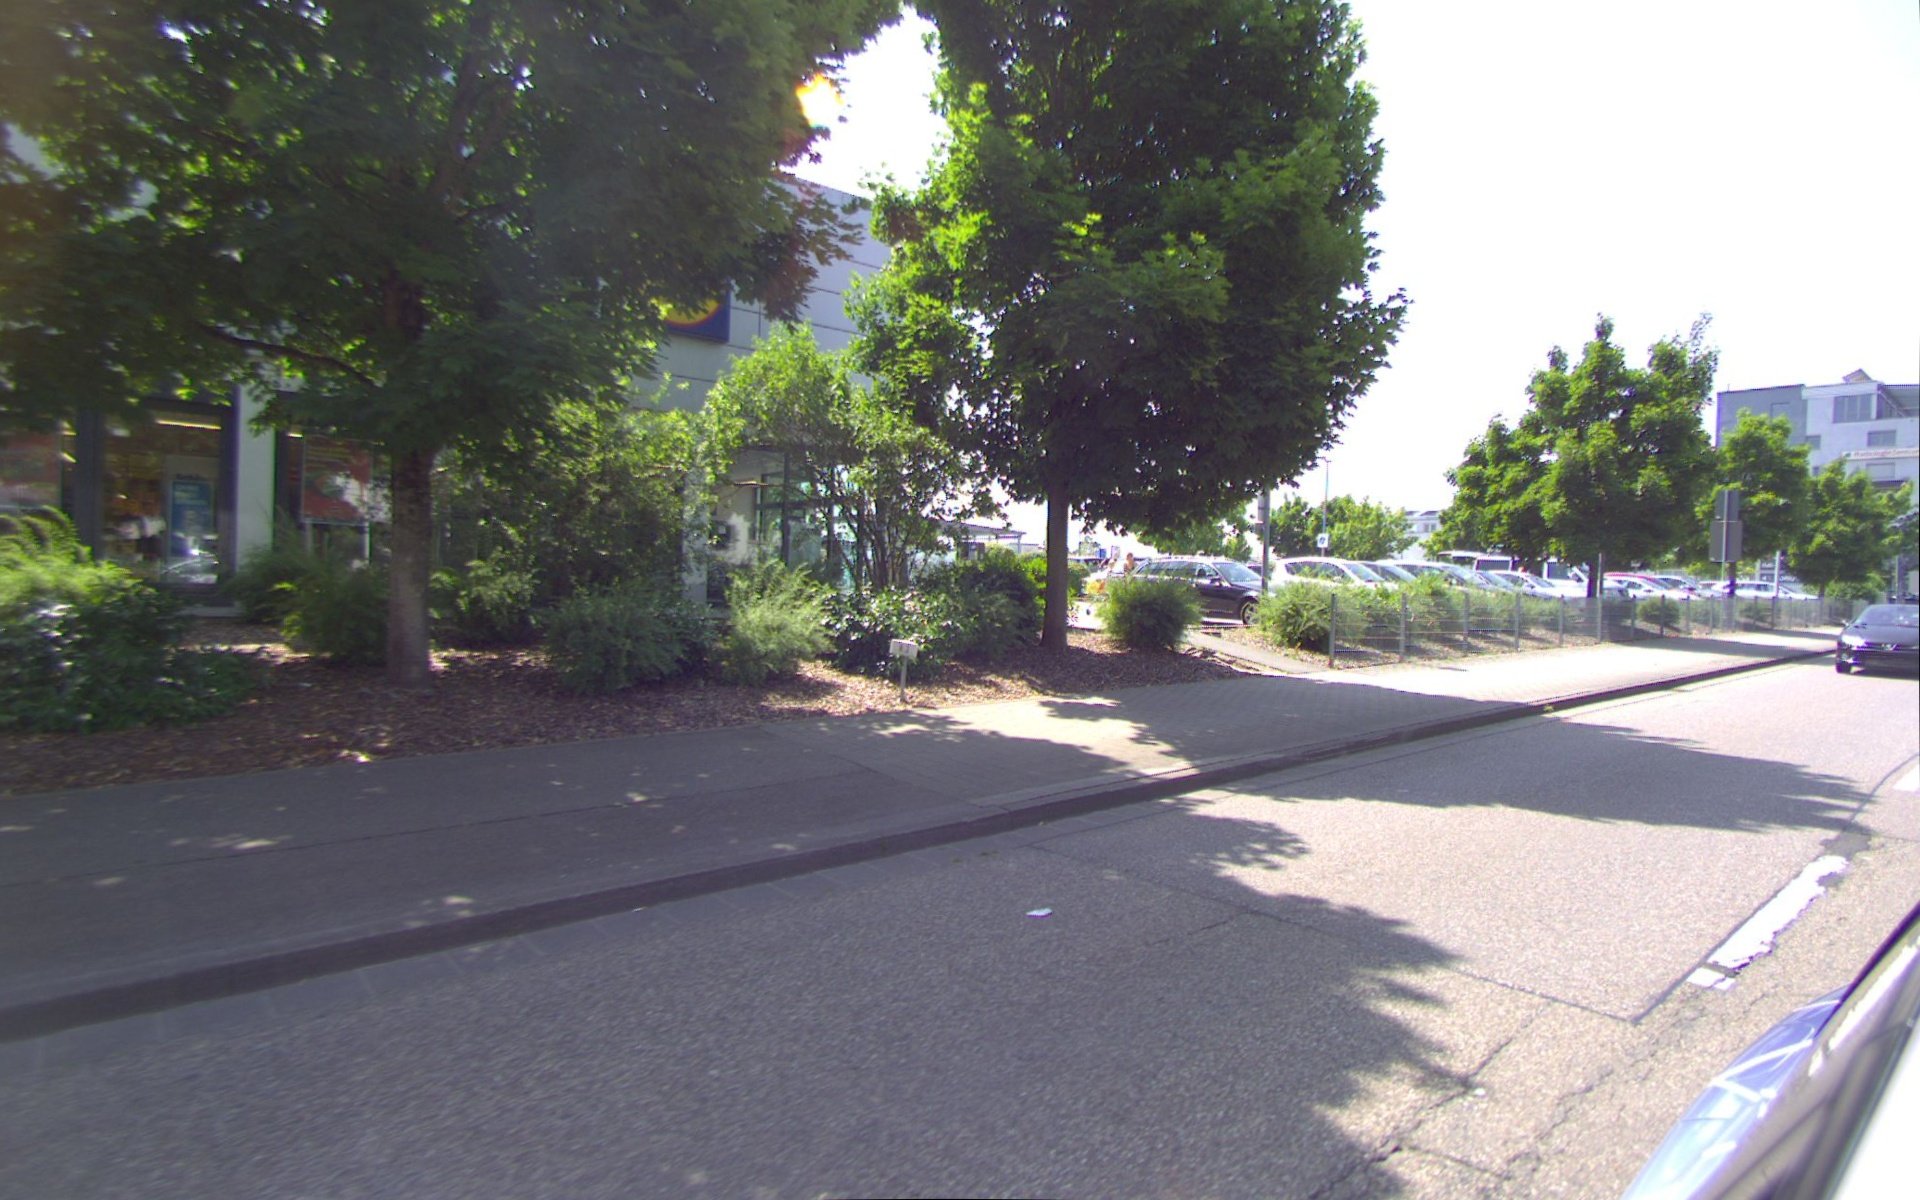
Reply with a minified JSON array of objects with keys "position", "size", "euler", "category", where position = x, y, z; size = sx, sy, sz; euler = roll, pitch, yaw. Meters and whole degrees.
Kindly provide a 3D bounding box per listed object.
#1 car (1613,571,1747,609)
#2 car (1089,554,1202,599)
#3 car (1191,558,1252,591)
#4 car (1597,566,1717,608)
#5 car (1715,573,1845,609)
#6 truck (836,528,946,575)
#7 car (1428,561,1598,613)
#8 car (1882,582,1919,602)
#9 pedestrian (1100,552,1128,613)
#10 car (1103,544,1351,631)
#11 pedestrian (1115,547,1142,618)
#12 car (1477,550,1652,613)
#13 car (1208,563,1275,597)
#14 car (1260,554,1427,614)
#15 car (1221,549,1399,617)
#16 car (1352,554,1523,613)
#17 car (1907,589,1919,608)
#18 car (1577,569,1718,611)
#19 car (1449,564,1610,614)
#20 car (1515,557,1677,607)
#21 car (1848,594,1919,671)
[{"position":[29.769,-0.439,41.962],"size":[1.666,1.439,4.183],"euler":[1,2,-36],"category":"car"},{"position":[6.706,-0.836,36.543],"size":[3.922,1.460,1.653],"euler":[1,2,-33],"category":"car"},{"position":[12.321,-1.190,47.612],"size":[2.906,1.437,1.267],"euler":[0,3,-41],"category":"car"},{"position":[27.642,-0.521,40.222],"size":[1.693,1.556,3.596],"euler":[1,2,-41],"category":"car"},{"position":[39.075,-0.451,48.336],"size":[1.667,1.523,4.587],"euler":[1,2,-39],"category":"car"},{"position":[-6.119,-4.307,91.140],"size":[9.844,3.884,2.860],"euler":[0,3,-36],"category":"truck"},{"position":[16.114,-0.402,29.651],"size":[1.794,1.407,3.998],"euler":[1,2,-38],"category":"car"},{"position":[67.252,-0.519,70.689],"size":[1.830,1.355,3.997],"euler":[0,3,-39],"category":"car"},{"position":[3.712,-0.423,24.406],"size":[0.409,1.430,0.448],"euler":[1,2,-43],"category":"pedestrian"},{"position":[5.729,-0.360,22.271],"size":[1.988,1.615,5.001],"euler":[0,3,-41],"category":"car"},{"position":[4.109,-0.423,24.680],"size":[0.409,1.694,0.448],"euler":[1,2,-43],"category":"pedestrian"},{"position":[19.941,-0.651,33.564],"size":[1.794,1.948,4.629],"euler":[1,1,-38],"category":"car"},{"position":[12.579,-0.888,45.187],"size":[3.195,1.437,1.267],"euler":[0,3,-41],"category":"car"},{"position":[10.683,-0.505,28.339],"size":[1.797,1.552,3.991],"euler":[-1,3,-44],"category":"car"},{"position":[8.979,-0.397,26.168],"size":[1.796,1.616,3.992],"euler":[0,0,-42],"category":"car"},{"position":[13.475,-0.508,28.739],"size":[1.794,1.552,3.998],"euler":[-1,3,-38],"category":"car"},{"position":[71.026,-0.054,72.869],"size":[1.725,1.355,3.881],"euler":[0,3,-39],"category":"car"},{"position":[25.515,-0.390,37.643],"size":[1.667,1.439,4.006],"euler":[1,2,-39],"category":"car"},{"position":[17.718,-0.372,31.647],"size":[1.794,1.407,3.998],"euler":[1,2,-38],"category":"car"},{"position":[22.000,-0.640,35.152],"size":[1.794,1.612,4.378],"euler":[1,2,-38],"category":"car"},{"position":[18.661,0.595,19.689],"size":[3.439,1.373,1.640],"euler":[0,2,-42],"category":"car"}]
